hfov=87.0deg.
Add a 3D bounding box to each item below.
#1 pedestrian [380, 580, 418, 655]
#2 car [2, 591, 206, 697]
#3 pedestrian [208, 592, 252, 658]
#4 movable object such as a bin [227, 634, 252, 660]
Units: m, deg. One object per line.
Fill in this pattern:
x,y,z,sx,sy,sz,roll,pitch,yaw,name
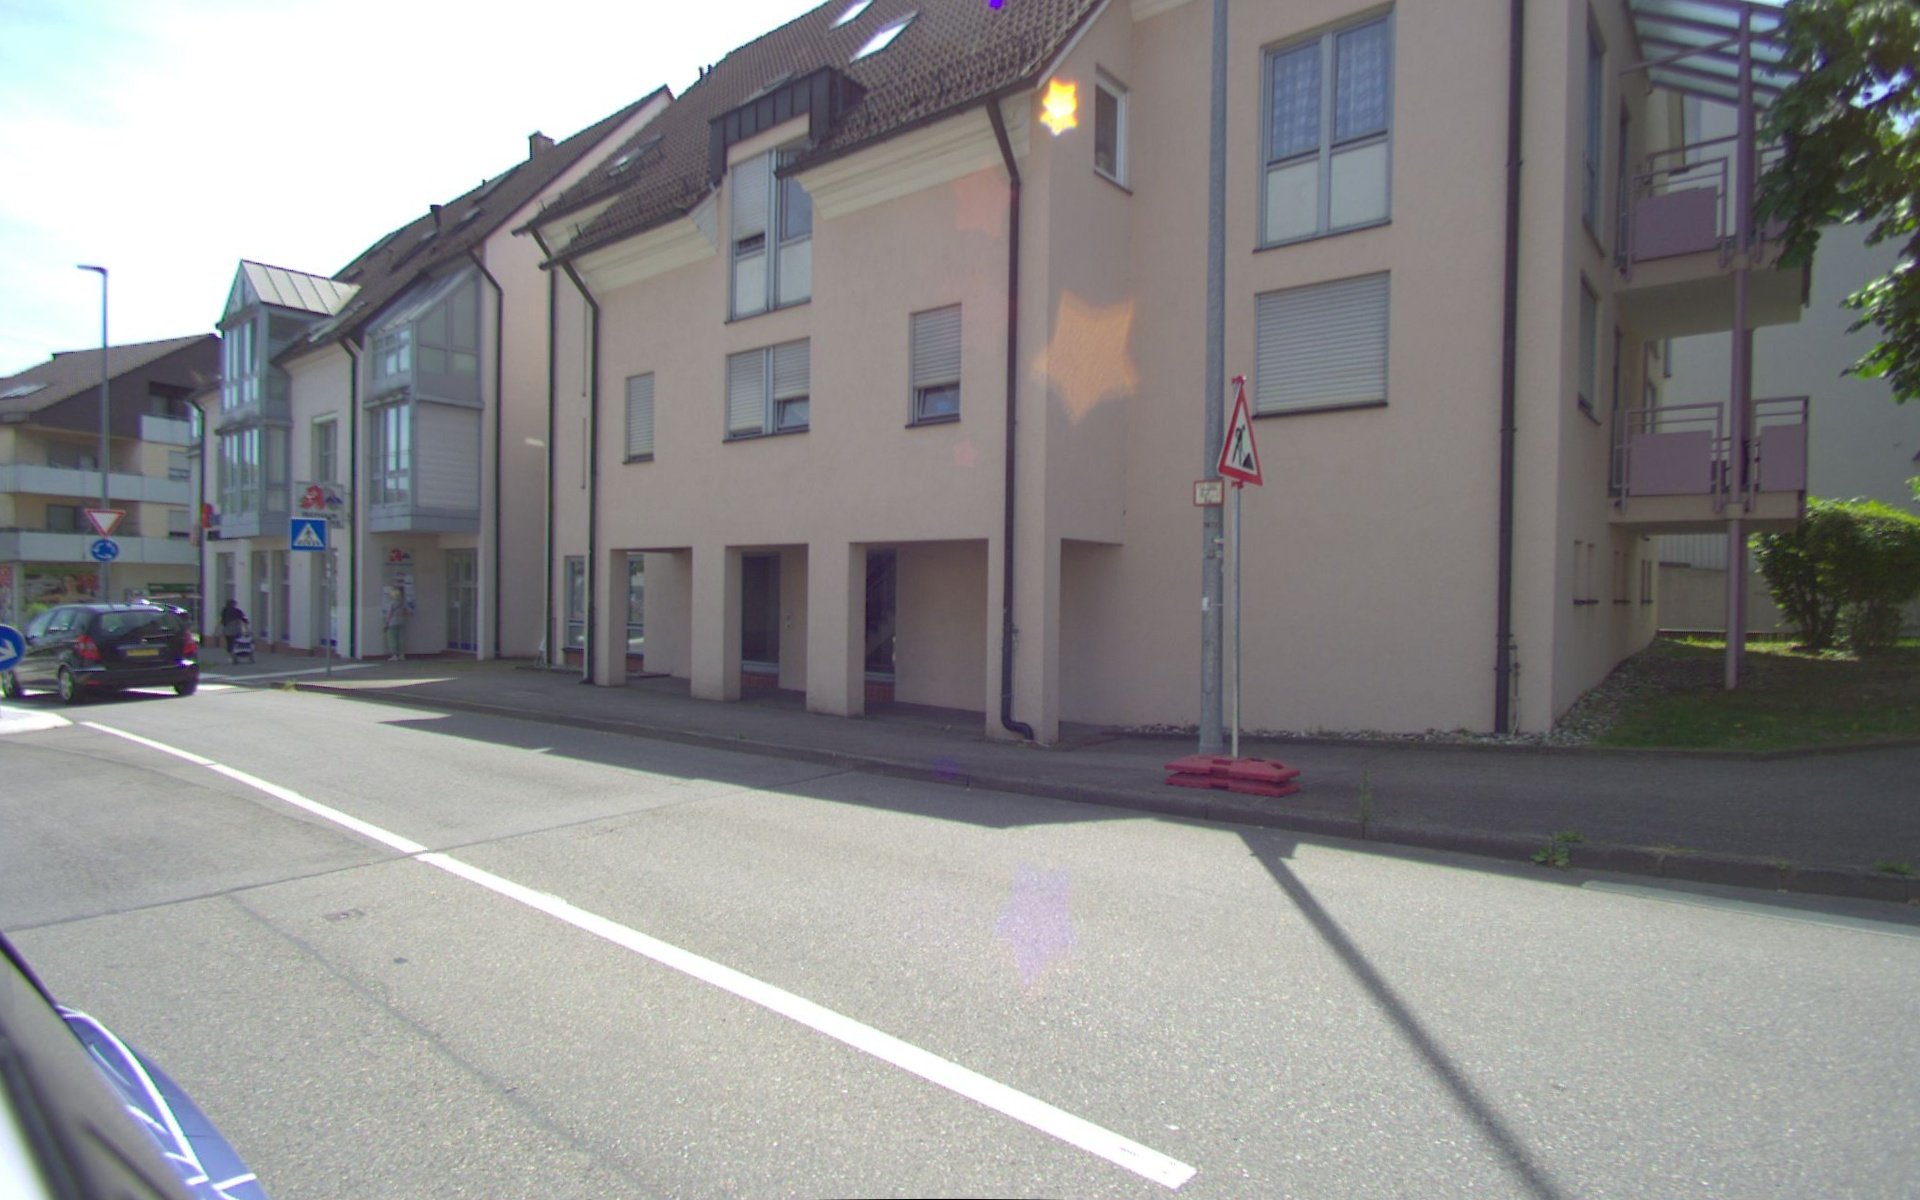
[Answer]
-13.220,0.402,23.847,0.579,1.722,0.569,-1,1,43,pedestrian
-14.615,0.685,17.217,3.936,1.596,1.737,-1,0,36,car
-17.025,0.557,23.602,0.789,1.489,0.959,-1,0,-37,pedestrian
-16.634,1.081,23.358,0.451,0.586,0.470,-1,0,-37,movable object such as a bin
